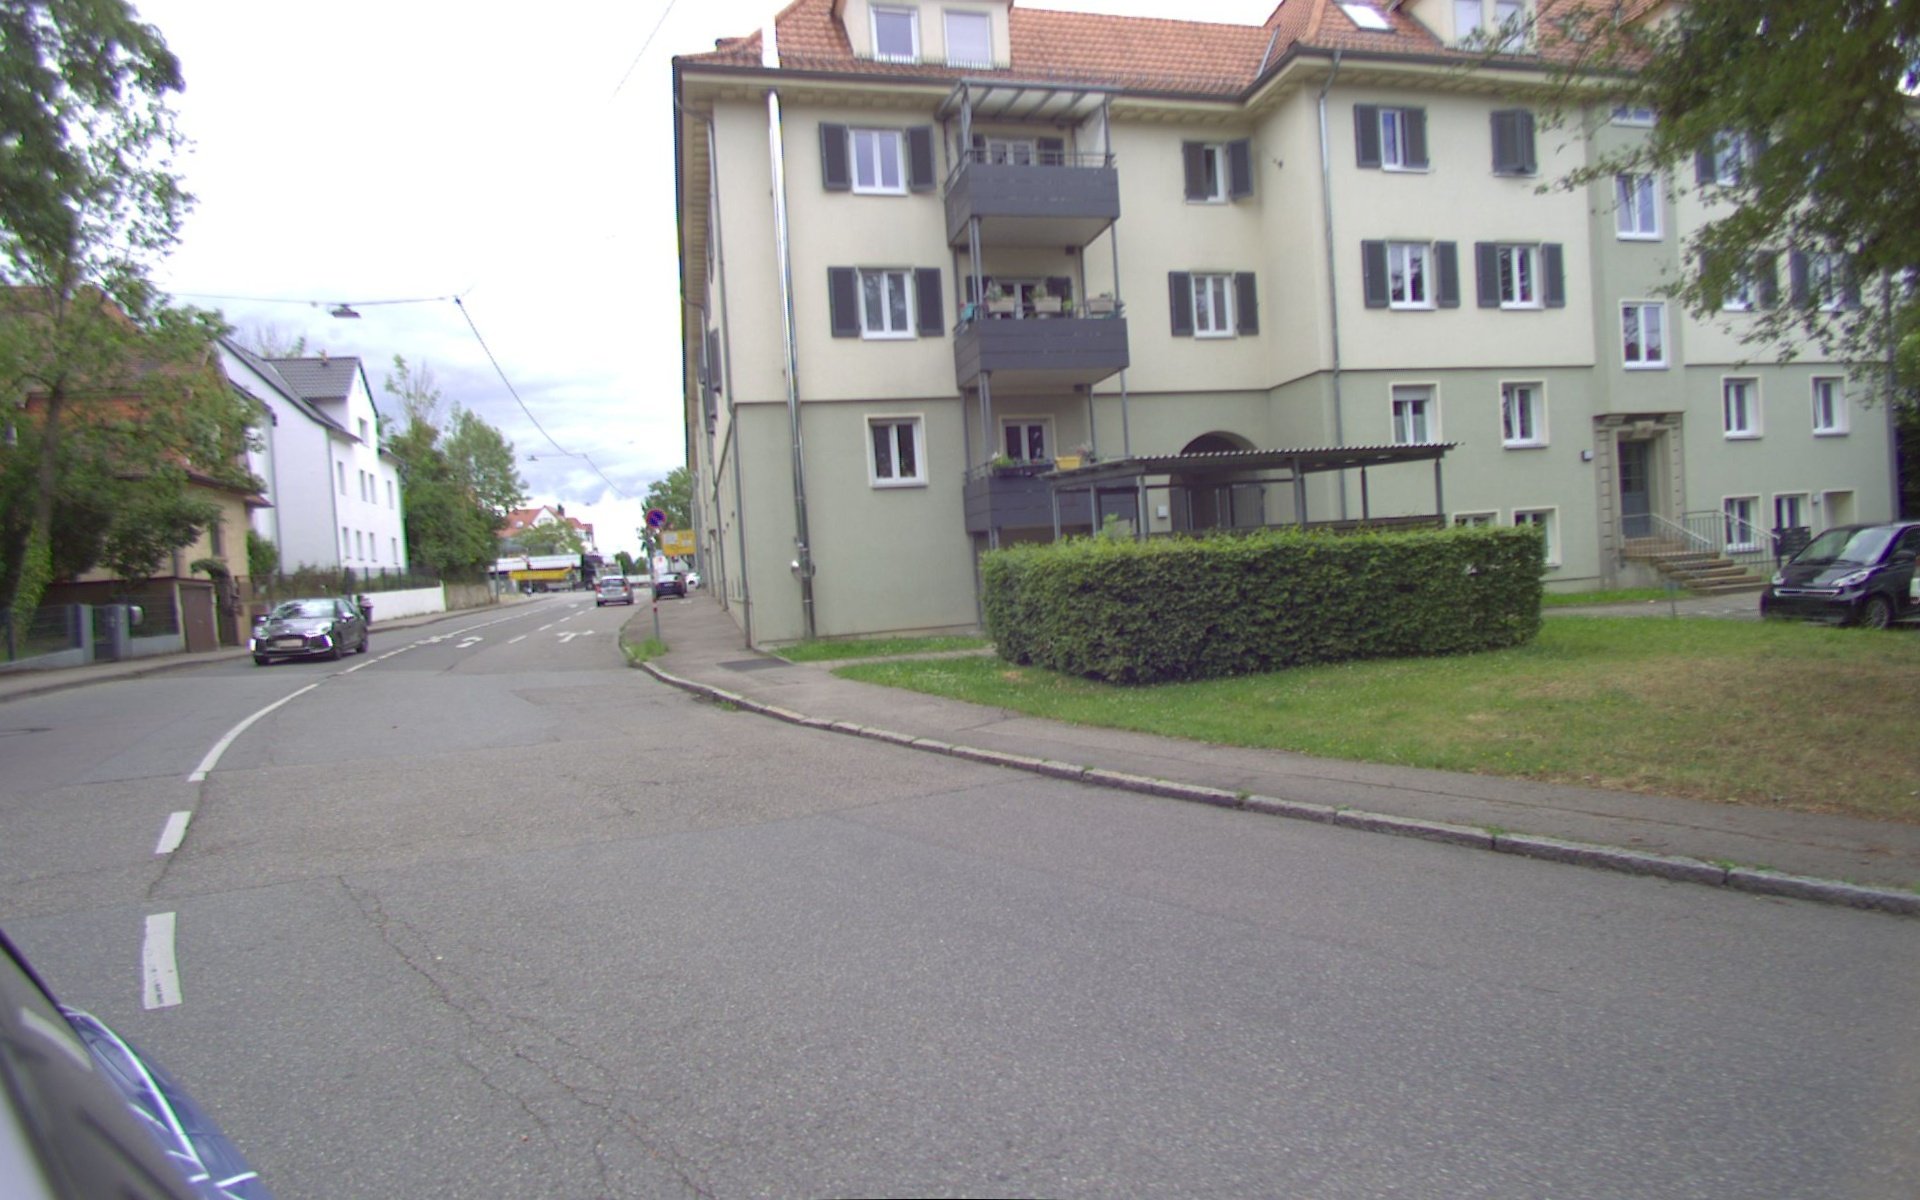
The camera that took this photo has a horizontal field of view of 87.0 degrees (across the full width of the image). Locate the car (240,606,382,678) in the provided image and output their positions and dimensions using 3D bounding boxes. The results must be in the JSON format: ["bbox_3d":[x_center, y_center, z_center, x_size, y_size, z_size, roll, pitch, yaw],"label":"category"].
[{"bbox_3d":[-15.373,0.929,24.199,1.620,1.408,3.791,-3,2,-13],"label":"car"}]

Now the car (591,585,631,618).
[{"bbox_3d":[-18.879,0.075,54.907,1.699,1.617,3.988,-3,1,-15],"label":"car"}]

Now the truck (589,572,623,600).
[{"bbox_3d":[-29.685,-1.194,85.085,2.092,2.217,6.608,-2,1,-14],"label":"truck"}]

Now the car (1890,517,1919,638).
[{"bbox_3d":[14.608,-0.430,12.751,4.515,1.544,1.962,-4,2,-12],"label":"car"}]

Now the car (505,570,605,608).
[{"bbox_3d":[-40.834,-1.128,102.301,9.087,3.251,2.006,-3,1,-14],"label":"car"}]

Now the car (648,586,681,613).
[{"bbox_3d":[-17.368,-0.052,59.616,1.687,1.413,4.860,-4,2,-16],"label":"car"}]

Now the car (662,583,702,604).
[{"bbox_3d":[-29.888,-0.708,108.811,3.932,2.028,2.006,-3,1,-18],"label":"car"}]

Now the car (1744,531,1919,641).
[{"bbox_3d":[13.737,-0.276,14.810,3.544,1.409,1.511,-4,1,-9],"label":"car"}]

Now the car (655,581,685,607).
[{"bbox_3d":[-20.146,-0.438,70.271,1.797,1.645,4.711,-5,2,-16],"label":"car"}]

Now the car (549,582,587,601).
[{"bbox_3d":[-44.698,-0.980,115.464,3.931,2.028,2.007,-4,2,-20],"label":"car"}]

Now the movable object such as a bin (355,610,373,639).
[{"bbox_3d":[-25.174,1.046,42.751,0.520,1.187,0.636,0,1,-16],"label":"movable object such as a bin"}]

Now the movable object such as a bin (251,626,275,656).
[{"bbox_3d":[-22.527,1.309,32.718,0.455,0.931,0.568,0,1,-16],"label":"movable object such as a bin"}]

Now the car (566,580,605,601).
[{"bbox_3d":[-42.011,-1.072,113.495,3.931,2.028,2.007,-4,2,-20],"label":"car"}]
